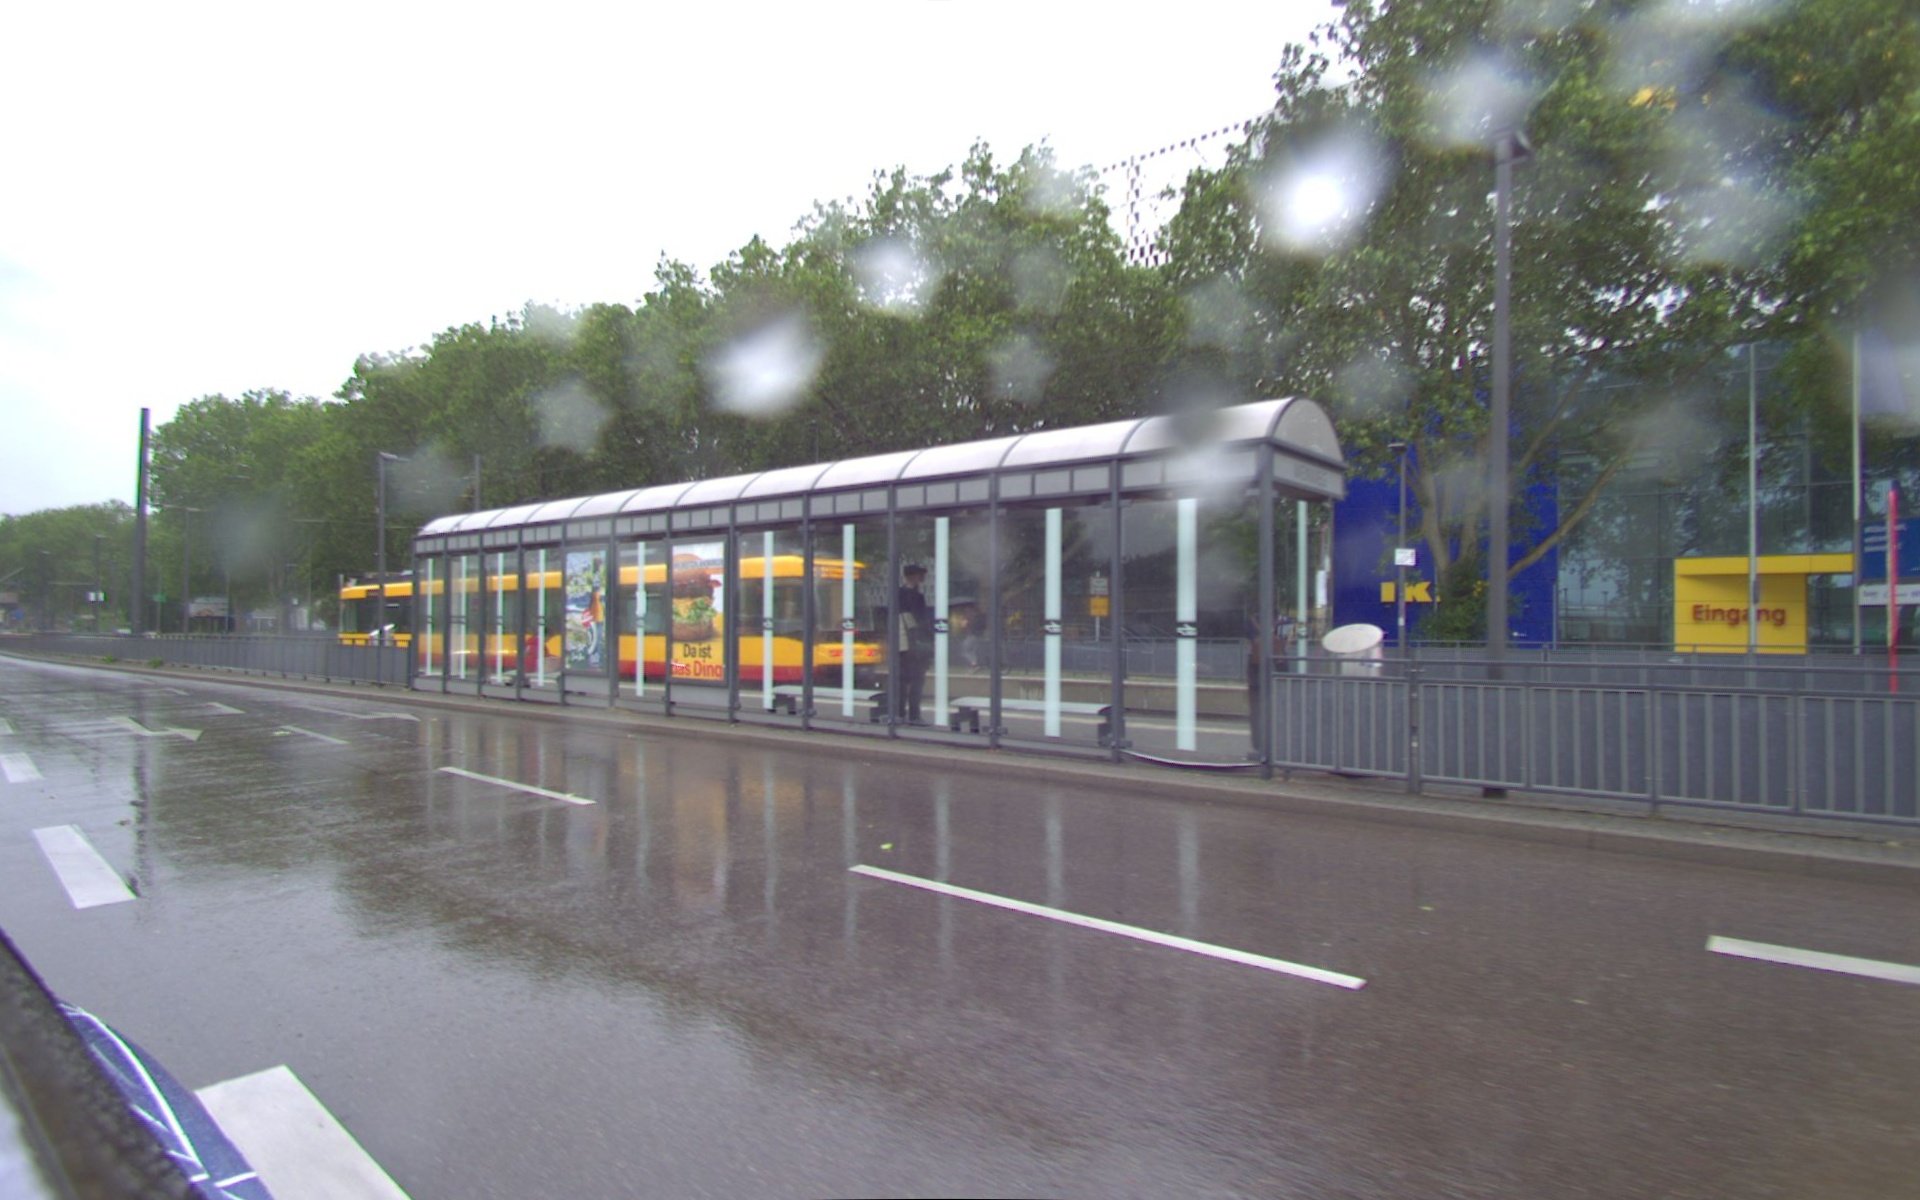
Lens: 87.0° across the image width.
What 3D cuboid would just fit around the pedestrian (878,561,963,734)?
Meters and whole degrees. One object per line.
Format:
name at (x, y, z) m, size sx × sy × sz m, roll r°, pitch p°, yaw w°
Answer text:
pedestrian at (-0.459, 0.515, 11.542) m, size 0.646 × 1.885 × 0.774 m, roll -1°, pitch 0°, yaw -33°

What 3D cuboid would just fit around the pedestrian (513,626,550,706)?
pedestrian at (-6.875, 1.049, 16.227) m, size 0.451 × 1.245 × 0.468 m, roll 0°, pitch 0°, yaw -35°

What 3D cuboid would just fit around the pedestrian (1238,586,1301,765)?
pedestrian at (2.680, 0.637, 8.772) m, size 0.317 × 1.504 × 0.416 m, roll -1°, pitch 1°, yaw -44°

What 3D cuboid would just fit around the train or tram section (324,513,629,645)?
train or tram section at (-17.664, -0.559, 35.857) m, size 15.560 × 3.827 × 3.703 m, roll -1°, pitch 0°, yaw 40°

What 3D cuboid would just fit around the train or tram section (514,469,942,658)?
train or tram section at (-6.675, -0.706, 26.441) m, size 13.245 × 3.868 × 3.703 m, roll -1°, pitch 0°, yaw 40°
